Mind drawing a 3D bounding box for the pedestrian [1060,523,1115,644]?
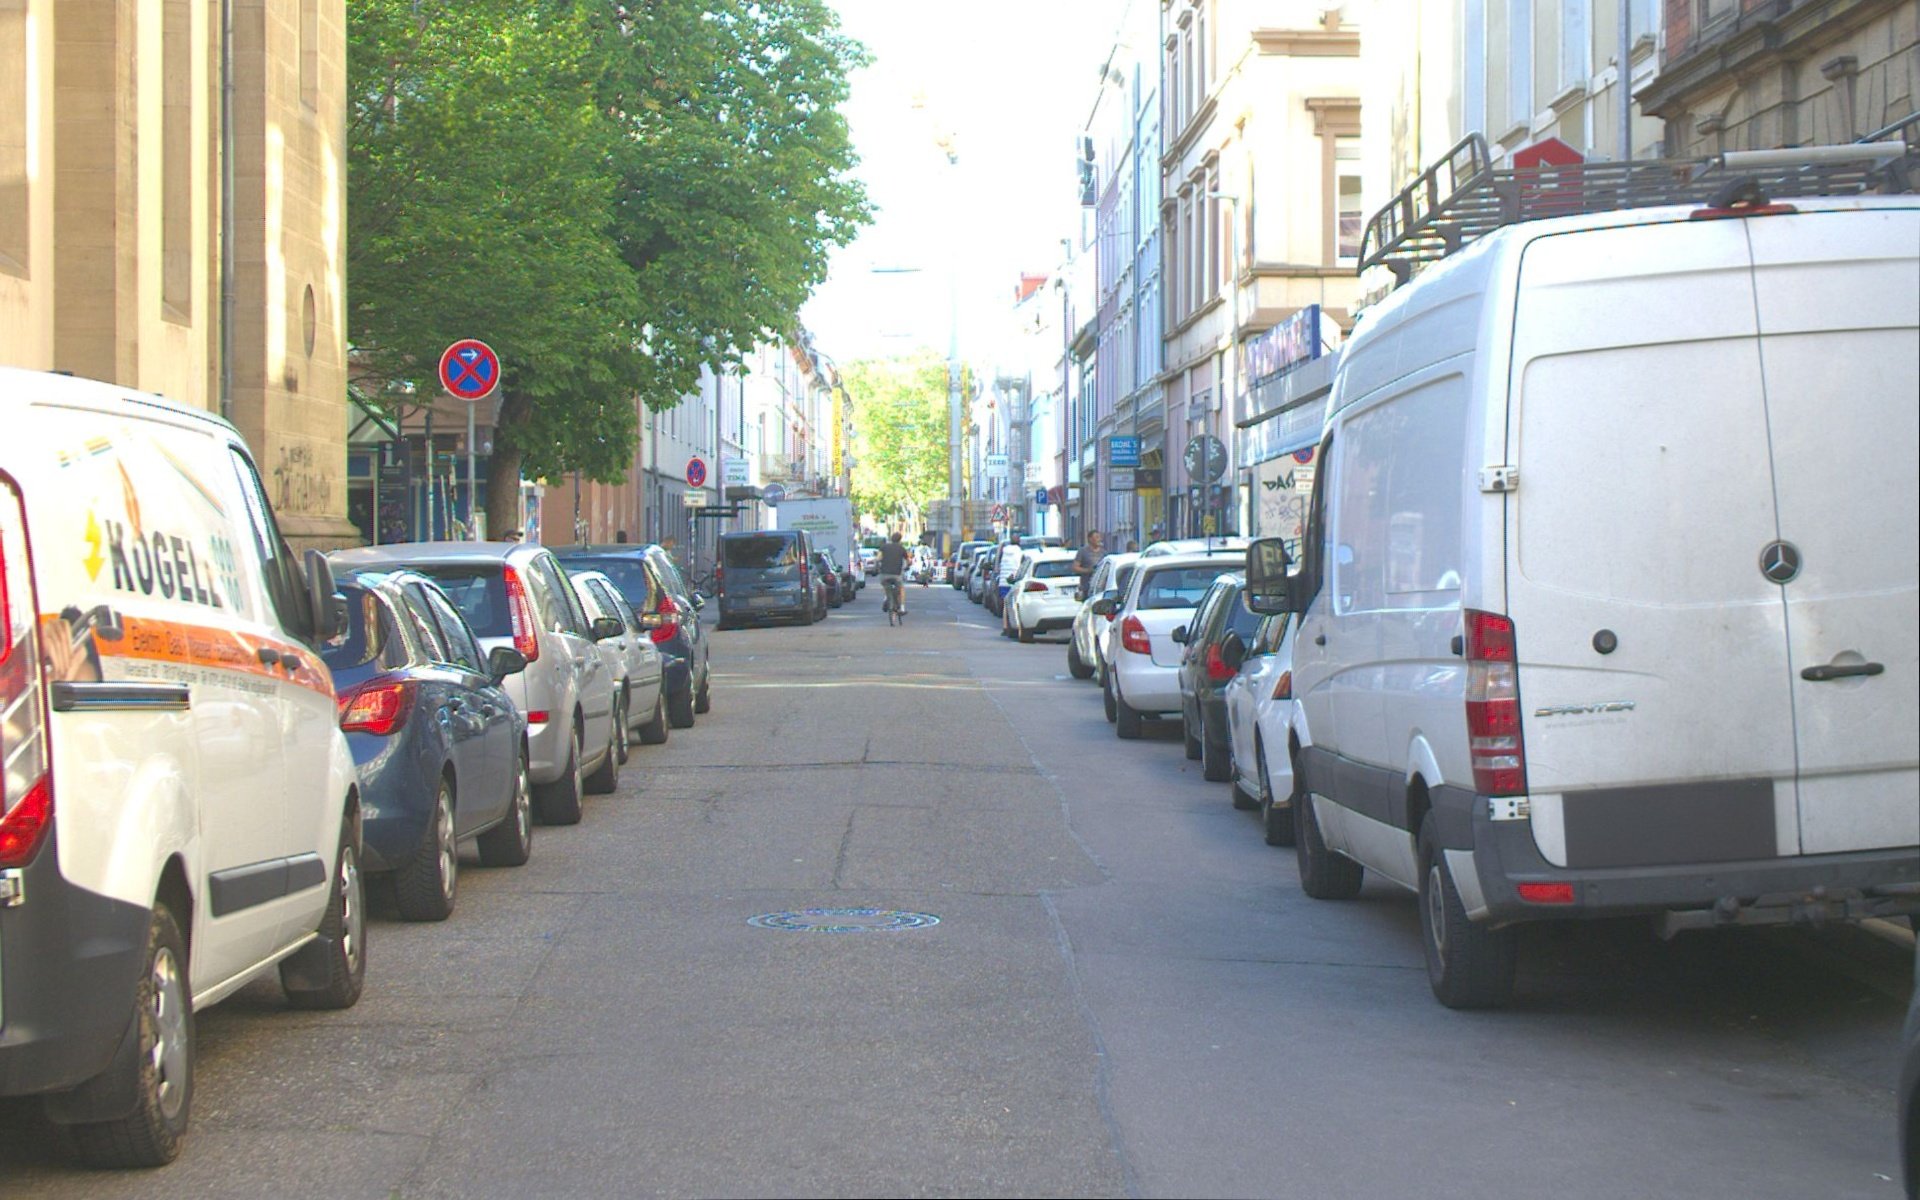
[{"bbox_3d":[1.955,-0.253,52.794,0.681,1.837,0.695,1,1,-12],"label":"pedestrian"}]

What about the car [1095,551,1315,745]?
[{"bbox_3d":[2.032,0.356,29.419,1.603,1.499,4.000,1,1,1],"label":"car"}]

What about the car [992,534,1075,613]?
[{"bbox_3d":[1.647,-0.632,78.254,1.769,1.735,4.000,0,1,0],"label":"car"}]

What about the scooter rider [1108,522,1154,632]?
[{"bbox_3d":[2.578,-0.349,51.797,0.650,1.637,0.683,0,1,5],"label":"scooter rider"}]

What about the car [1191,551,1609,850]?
[{"bbox_3d":[2.412,0.485,19.868,1.779,1.481,4.360,2,1,0],"label":"car"}]

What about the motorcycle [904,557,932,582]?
[{"bbox_3d":[-1.707,-1.239,139.849,1.042,0.977,2.825,0,1,-2],"label":"motorcycle"}]

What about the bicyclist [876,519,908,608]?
[{"bbox_3d":[-1.300,-0.706,65.762,0.605,1.682,0.885,0,1,-1],"label":"bicyclist"}]

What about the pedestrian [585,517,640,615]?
[{"bbox_3d":[-6.426,-0.631,63.578,0.929,1.780,0.806,0,1,1],"label":"pedestrian"}]

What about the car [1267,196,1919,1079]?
[{"bbox_3d":[2.512,0.058,13.143,2.068,2.602,5.888,1,1,0],"label":"car"}]

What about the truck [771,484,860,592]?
[{"bbox_3d":[-4.516,-1.934,108.147,2.532,3.270,6.995,0,1,0],"label":"truck"}]

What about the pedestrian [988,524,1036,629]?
[{"bbox_3d":[0.920,-0.430,61.107,0.783,1.837,1.012,1,1,-2],"label":"pedestrian"}]

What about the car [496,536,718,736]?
[{"bbox_3d":[-3.074,0.272,30.554,1.600,1.608,3.808,-2,1,-1],"label":"car"}]

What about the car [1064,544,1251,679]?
[{"bbox_3d":[2.230,0.097,39.715,1.716,1.483,3.870,0,1,-3],"label":"car"}]

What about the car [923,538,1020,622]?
[{"bbox_3d":[0.209,-0.425,69.179,1.897,1.645,4.000,0,1,0],"label":"car"}]

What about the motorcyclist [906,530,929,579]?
[{"bbox_3d":[-1.735,-1.846,140.091,0.902,2.007,1.190,0,1,-2],"label":"motorcyclist"}]

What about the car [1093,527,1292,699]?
[{"bbox_3d":[2.298,0.091,34.847,1.716,1.640,4.000,0,1,0],"label":"car"}]

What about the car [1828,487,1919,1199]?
[{"bbox_3d":[2.421,0.664,4.189,1.687,1.637,3.925,0,1,-1],"label":"car"}]

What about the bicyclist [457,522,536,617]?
[{"bbox_3d":[-6.443,-0.423,47.723,1.059,1.302,0.757,0,1,-10],"label":"bicyclist"}]

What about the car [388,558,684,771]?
[{"bbox_3d":[-3.128,0.430,26.002,1.570,1.393,3.808,-3,1,2],"label":"car"}]

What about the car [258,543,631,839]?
[{"bbox_3d":[-2.932,0.450,20.301,1.672,1.553,4.000,-1,1,-1],"label":"car"}]

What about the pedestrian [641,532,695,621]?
[{"bbox_3d":[-5.391,-0.440,63.545,0.929,1.632,0.806,0,1,1],"label":"pedestrian"}]

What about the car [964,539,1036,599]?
[{"bbox_3d":[1.171,-0.941,102.740,1.993,1.680,4.000,3,1,0],"label":"car"}]

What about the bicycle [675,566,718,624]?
[{"bbox_3d":[-5.123,-0.104,66.835,0.644,1.105,1.605,0,1,-11],"label":"bicycle"}]

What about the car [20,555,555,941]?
[{"bbox_3d":[-2.852,0.553,15.377,1.615,1.447,3.950,-2,1,0],"label":"car"}]

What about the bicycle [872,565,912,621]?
[{"bbox_3d":[-1.295,-0.146,65.809,0.739,1.040,1.859,0,1,0],"label":"bicycle"}]

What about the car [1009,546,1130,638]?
[{"bbox_3d":[1.810,-0.160,57.824,1.897,1.483,3.869,0,1,0],"label":"car"}]

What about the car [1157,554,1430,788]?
[{"bbox_3d":[2.311,0.444,24.579,1.569,1.490,3.653,2,1,0],"label":"car"}]

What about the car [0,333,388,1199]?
[{"bbox_3d":[-2.874,0.404,9.488,1.864,1.950,4.610,-1,1,-1],"label":"car"}]

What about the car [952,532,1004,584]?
[{"bbox_3d":[0.693,-1.651,134.235,1.993,2.007,4.000,0,1,0],"label":"car"}]

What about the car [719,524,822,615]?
[{"bbox_3d":[-3.818,-0.632,69.850,1.875,1.790,4.000,0,1,0],"label":"car"}]

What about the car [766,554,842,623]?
[{"bbox_3d":[-4.135,-0.330,91.553,1.875,1.790,4.000,0,1,0],"label":"car"}]

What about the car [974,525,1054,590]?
[{"bbox_3d":[1.422,-1.140,91.853,1.993,1.626,4.000,3,1,0],"label":"car"}]
